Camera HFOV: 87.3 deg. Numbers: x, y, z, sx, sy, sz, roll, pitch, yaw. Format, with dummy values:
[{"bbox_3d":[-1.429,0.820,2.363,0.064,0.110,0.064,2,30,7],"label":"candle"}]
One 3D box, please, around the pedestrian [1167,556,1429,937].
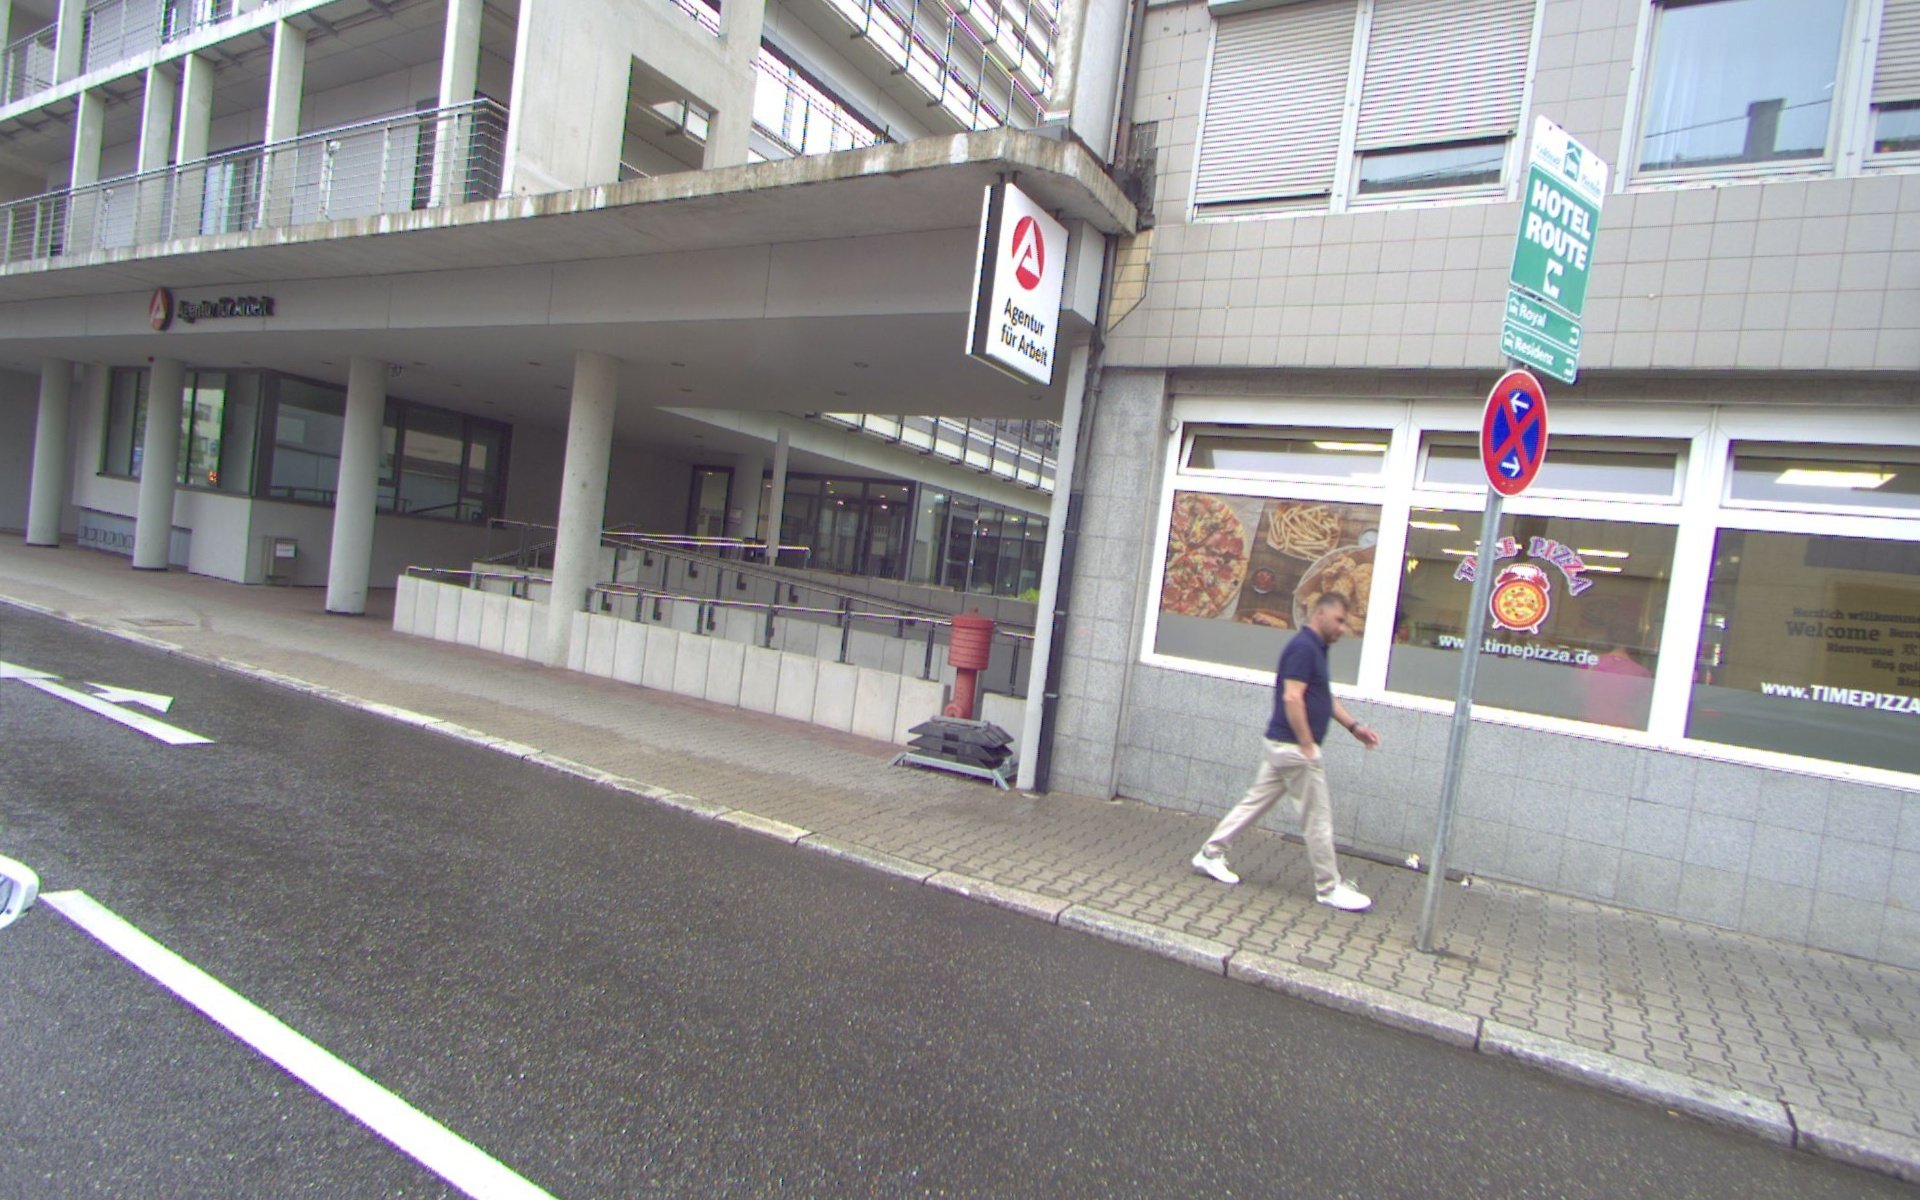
[{"bbox_3d":[1.940,0.741,5.772,1.101,1.893,0.868,6,5,32],"label":"pedestrian"}]
